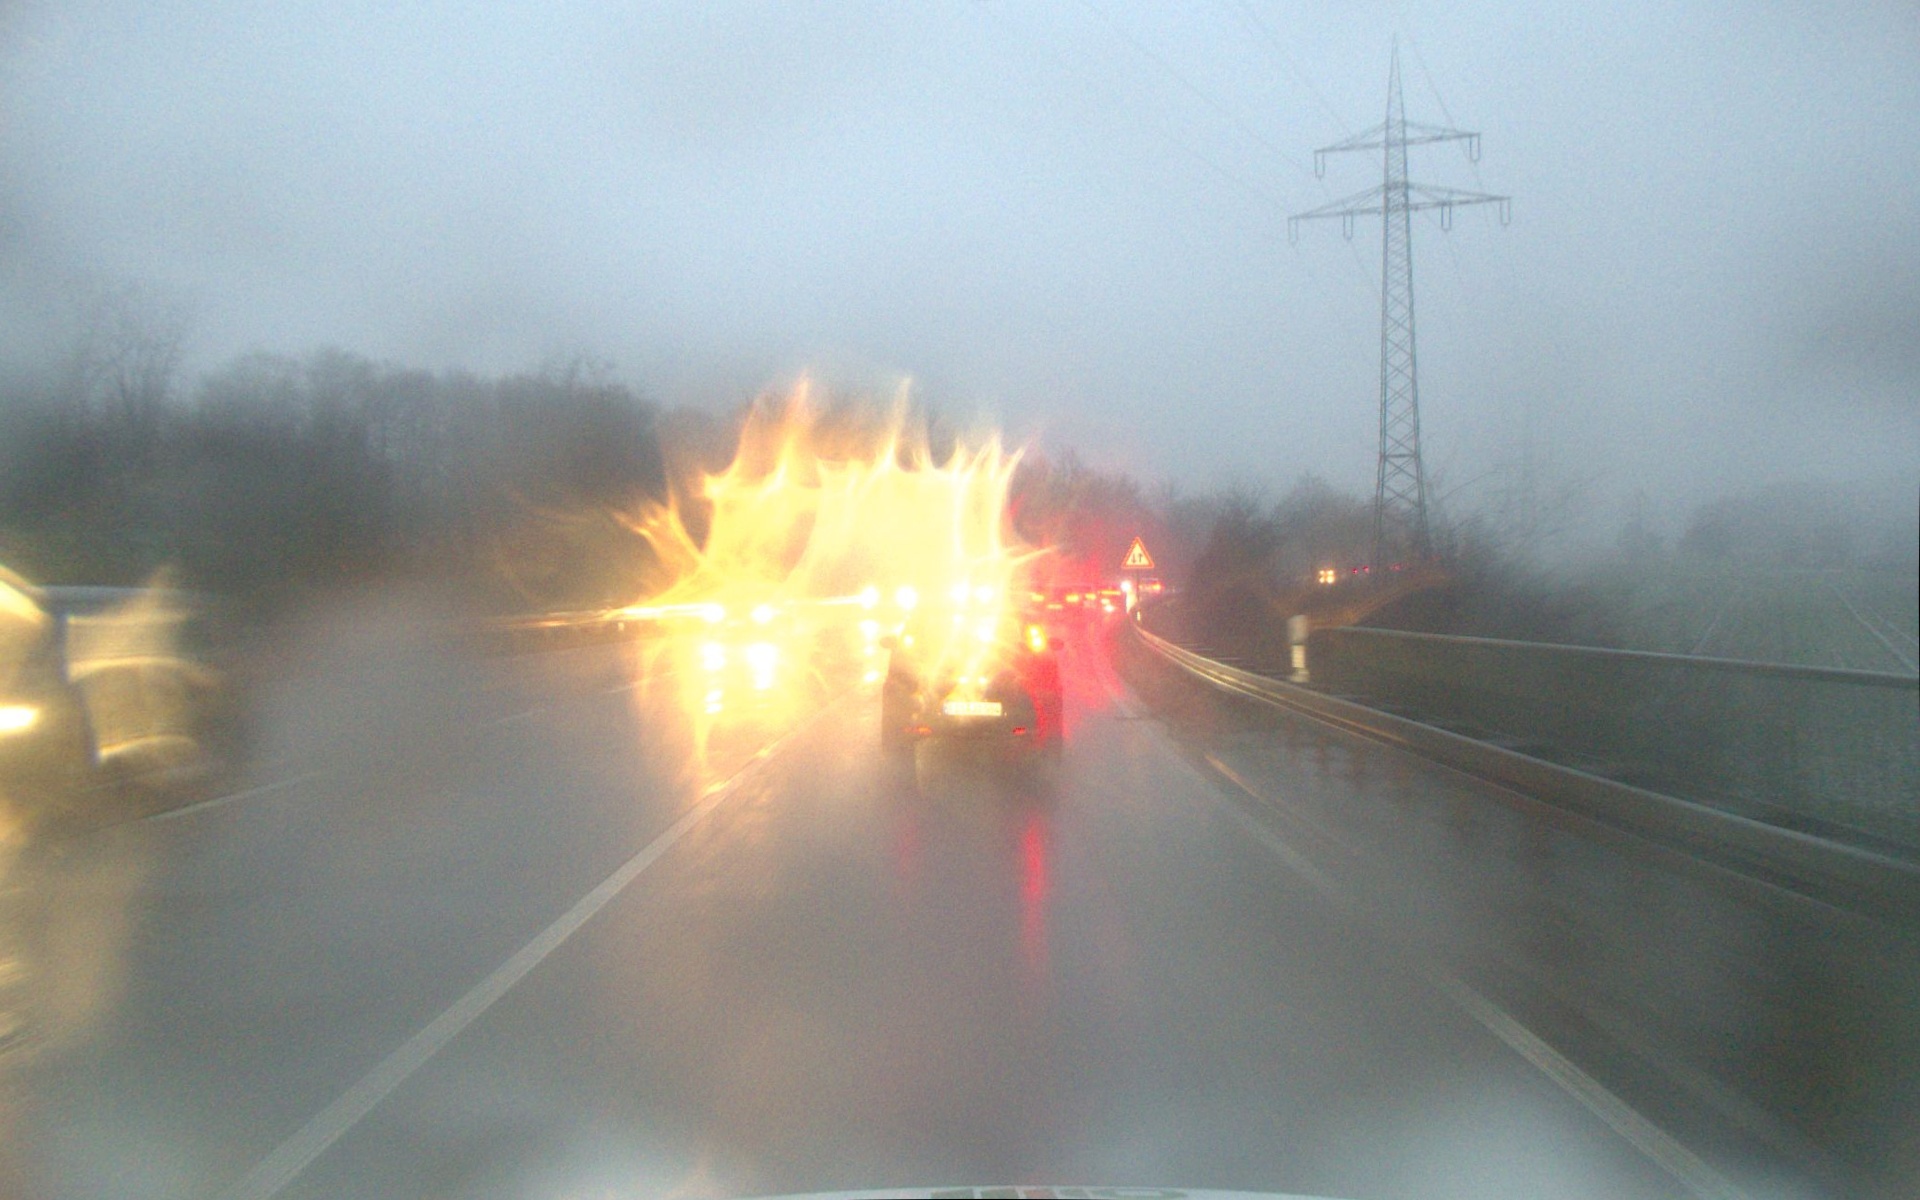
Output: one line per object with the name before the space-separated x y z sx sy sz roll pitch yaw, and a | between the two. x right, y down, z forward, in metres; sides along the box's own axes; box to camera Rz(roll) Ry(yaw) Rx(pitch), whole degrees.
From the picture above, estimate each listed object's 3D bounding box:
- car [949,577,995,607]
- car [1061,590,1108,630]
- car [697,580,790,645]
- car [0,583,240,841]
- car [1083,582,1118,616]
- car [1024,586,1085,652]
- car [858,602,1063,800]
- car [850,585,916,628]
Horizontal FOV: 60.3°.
car | 0.672 -0.417 89.044 1.951 1.516 4.385 1 0 7
car | 5.654 0.423 75.464 1.906 1.775 4.001 0 0 1
car | -5.709 0.286 44.048 1.602 1.497 4.451 4 1 3
car | -6.387 0.629 10.894 1.661 1.442 3.998 1 0 -3
car | 7.782 -0.036 91.726 1.905 1.775 4.002 0 -1 5
car | 3.083 0.575 53.907 1.905 2.049 4.002 0 1 3
car | -0.072 0.871 16.299 1.696 1.559 4.041 -3 1 -2
car | -3.028 0.243 66.017 1.848 1.617 4.385 1 0 7
